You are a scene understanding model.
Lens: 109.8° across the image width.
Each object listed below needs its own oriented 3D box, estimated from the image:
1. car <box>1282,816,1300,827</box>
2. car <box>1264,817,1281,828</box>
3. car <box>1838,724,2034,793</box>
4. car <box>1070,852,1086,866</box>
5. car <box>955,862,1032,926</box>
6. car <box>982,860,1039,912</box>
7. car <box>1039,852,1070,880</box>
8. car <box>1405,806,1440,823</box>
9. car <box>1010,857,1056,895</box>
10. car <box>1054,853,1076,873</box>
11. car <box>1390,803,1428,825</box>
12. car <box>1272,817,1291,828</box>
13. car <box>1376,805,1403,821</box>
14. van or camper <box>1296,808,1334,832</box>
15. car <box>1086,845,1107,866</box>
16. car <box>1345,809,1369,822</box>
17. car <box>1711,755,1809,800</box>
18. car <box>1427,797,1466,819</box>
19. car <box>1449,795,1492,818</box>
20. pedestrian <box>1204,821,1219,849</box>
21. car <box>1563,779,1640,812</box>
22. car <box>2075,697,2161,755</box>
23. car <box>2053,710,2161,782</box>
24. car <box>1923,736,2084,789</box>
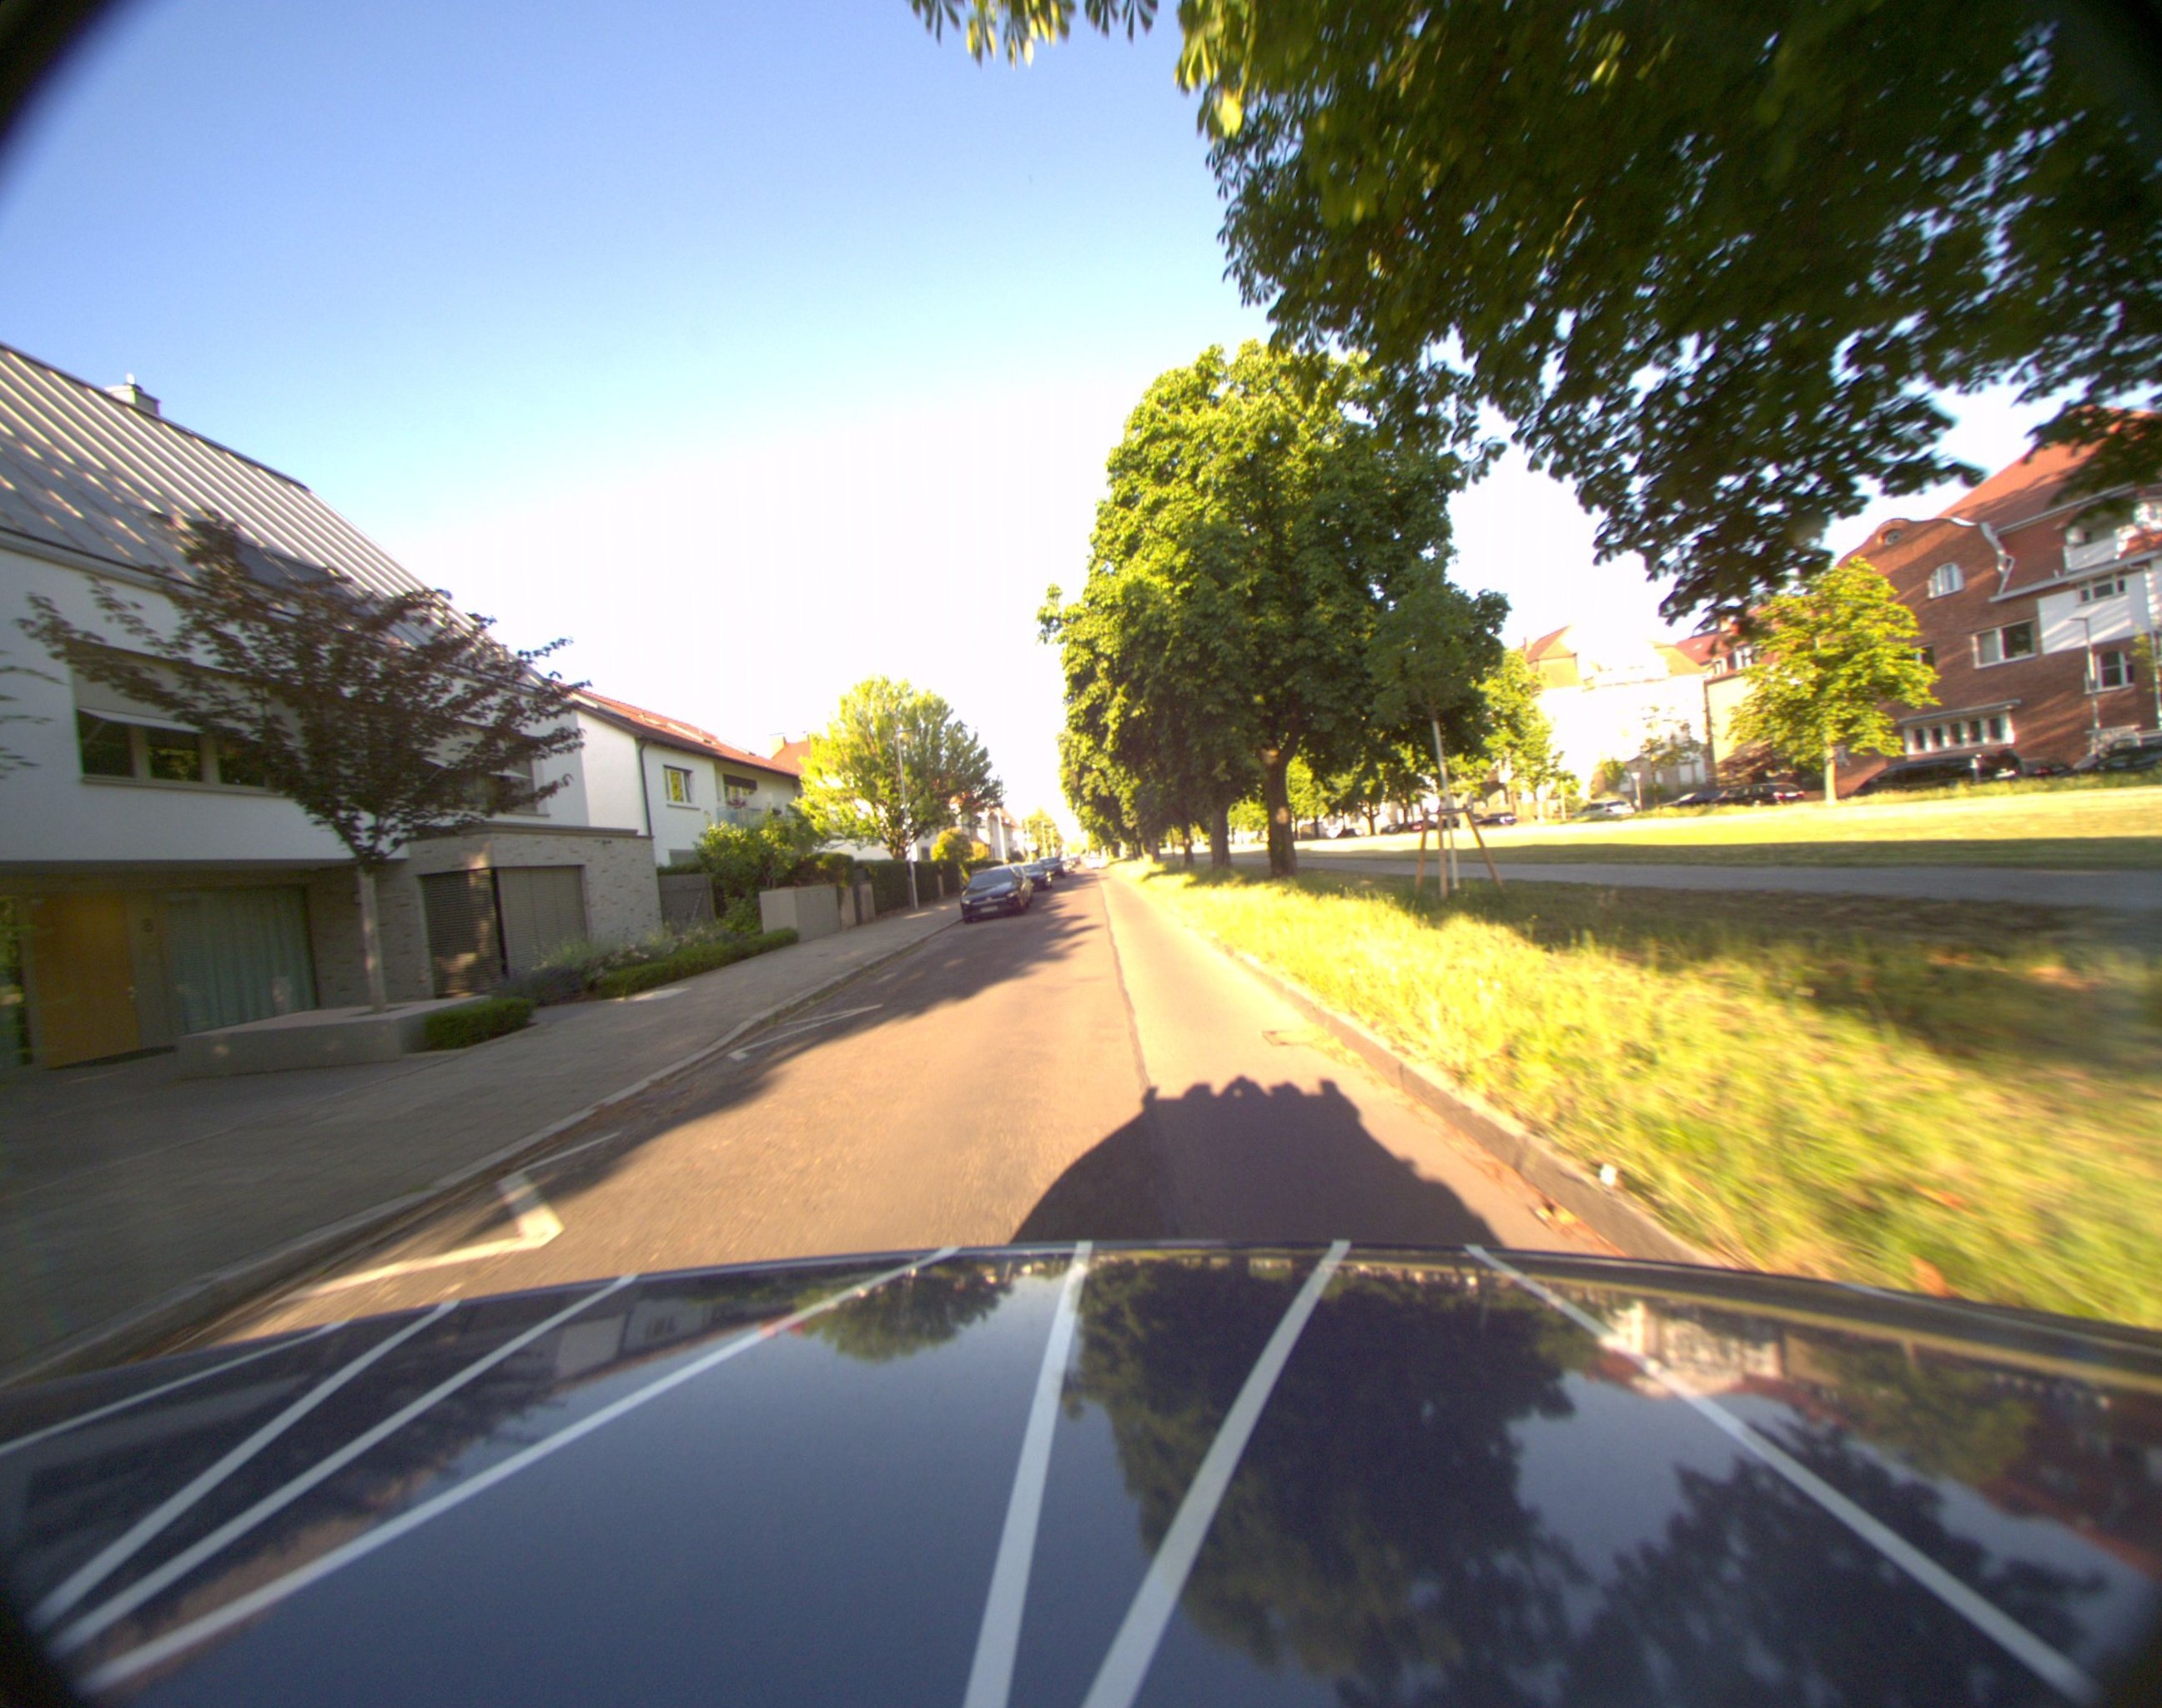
[{"bbox_3d":[41.903,-6.471,152.041,1.999,1.680,4.874,-7,1,-1],"label":"car"},{"bbox_3d":[35.996,-5.852,143.025,1.998,1.680,4.875,-7,1,2],"label":"car"},{"bbox_3d":[34.304,-3.735,30.789,1.998,1.929,5.246,-7,0,2],"label":"car"},{"bbox_3d":[-0.426,0.676,98.024,1.784,1.491,4.397,-9,1,0],"label":"car"},{"bbox_3d":[-2.564,1.124,23.158,1.753,1.468,4.287,-9,1,-2],"label":"car"},{"bbox_3d":[-2.539,1.133,28.239,1.695,1.474,3.928,-11,1,-3],"label":"car"},{"bbox_3d":[-2.005,0.869,58.319,1.999,1.727,4.863,-10,1,0],"label":"car"},{"bbox_3d":[41.006,-4.704,91.356,1.999,1.643,4.428,-7,1,0],"label":"car"},{"bbox_3d":[-2.334,1.031,38.291,1.798,1.483,4.673,-7,1,1],"label":"car"},{"bbox_3d":[-1.481,0.837,71.653,1.784,1.454,4.593,-10,1,1],"label":"car"},{"bbox_3d":[35.208,-4.261,81.710,1.998,2.002,4.876,-7,1,3],"label":"car"},{"bbox_3d":[36.142,-5.718,137.213,1.998,1.680,4.875,-7,1,2],"label":"car"},{"bbox_3d":[41.219,-5.399,101.493,1.998,1.724,4.000,-7,0,3],"label":"car"},{"bbox_3d":[36.007,-5.178,117.390,3.262,3.093,7.896,-7,1,2],"label":"van or camper"},{"bbox_3d":[1.679,0.140,81.547,1.998,2.002,3.999,-7,1,1],"label":"car"},{"bbox_3d":[41.759,-5.803,114.972,1.998,1.455,4.000,-7,0,1],"label":"car"},{"bbox_3d":[39.863,-4.432,44.745,1.761,2.002,4.368,-7,0,2],"label":"car"},{"bbox_3d":[41.148,-5.129,85.576,1.999,2.002,4.428,-7,1,0],"label":"car"},{"bbox_3d":[40.983,-4.948,80.050,1.998,2.002,4.876,-7,1,3],"label":"car"},{"bbox_3d":[8.331,-1.209,48.516,0.726,1.747,0.993,-7,1,8],"label":"pedestrian"},{"bbox_3d":[34.634,-3.856,50.697,1.824,1.630,4.650,-7,1,1],"label":"car"},{"bbox_3d":[39.759,-4.835,27.450,1.821,1.827,4.408,-7,1,2],"label":"car"},{"bbox_3d":[34.537,-3.574,24.160,1.998,2.002,4.000,-7,1,1],"label":"car"},{"bbox_3d":[40.479,-3.955,33.529,1.761,1.613,4.305,-7,0,2],"label":"car"}]
